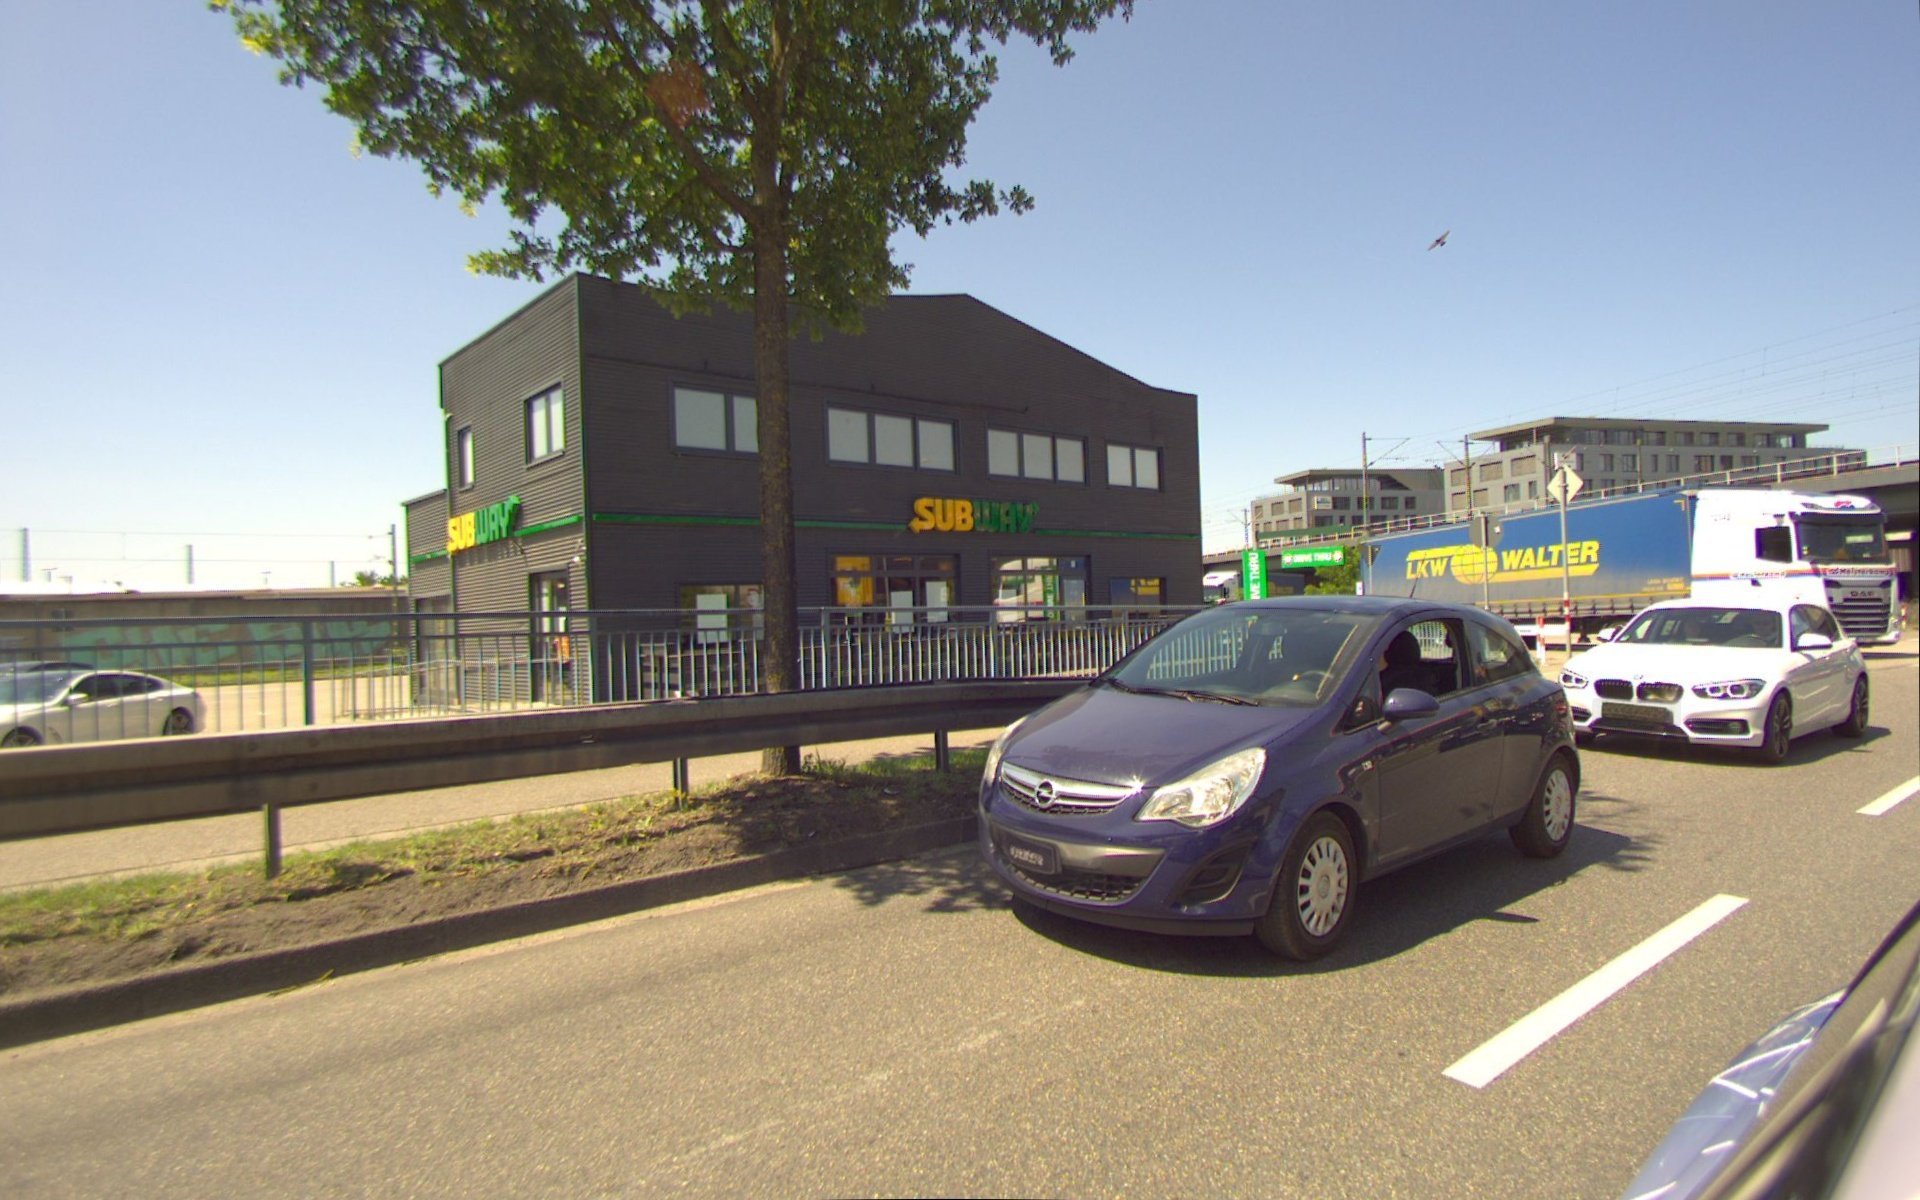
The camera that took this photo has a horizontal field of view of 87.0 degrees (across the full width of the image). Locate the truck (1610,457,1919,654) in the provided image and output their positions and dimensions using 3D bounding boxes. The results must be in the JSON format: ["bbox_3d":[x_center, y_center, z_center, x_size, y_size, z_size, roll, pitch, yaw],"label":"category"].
[{"bbox_3d":[19.170,-0.920,24.395,2.523,4.154,5.770,-1,-1,-9],"label":"truck"}]

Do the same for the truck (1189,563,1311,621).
[{"bbox_3d":[23.408,-0.739,80.393,2.739,4.155,17.197,-1,0,39],"label":"truck"}]

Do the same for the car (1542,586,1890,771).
[{"bbox_3d":[7.654,0.608,10.133,3.978,1.461,1.763,-1,2,-37],"label":"car"}]

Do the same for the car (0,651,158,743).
[{"bbox_3d":[-19.711,2.020,21.771,1.623,1.578,4.402,-1,0,-4],"label":"car"}]

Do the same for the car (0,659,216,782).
[{"bbox_3d":[-13.844,1.749,15.120,1.961,1.375,5.086,-1,0,-4],"label":"car"}]

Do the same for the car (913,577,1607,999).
[{"bbox_3d":[1.776,0.649,5.370,3.820,1.462,1.650,0,-1,-39],"label":"car"}]

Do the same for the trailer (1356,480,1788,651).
[{"bbox_3d":[17.680,-0.752,31.563,2.448,4.142,13.928,-1,-1,-12],"label":"trailer"}]
